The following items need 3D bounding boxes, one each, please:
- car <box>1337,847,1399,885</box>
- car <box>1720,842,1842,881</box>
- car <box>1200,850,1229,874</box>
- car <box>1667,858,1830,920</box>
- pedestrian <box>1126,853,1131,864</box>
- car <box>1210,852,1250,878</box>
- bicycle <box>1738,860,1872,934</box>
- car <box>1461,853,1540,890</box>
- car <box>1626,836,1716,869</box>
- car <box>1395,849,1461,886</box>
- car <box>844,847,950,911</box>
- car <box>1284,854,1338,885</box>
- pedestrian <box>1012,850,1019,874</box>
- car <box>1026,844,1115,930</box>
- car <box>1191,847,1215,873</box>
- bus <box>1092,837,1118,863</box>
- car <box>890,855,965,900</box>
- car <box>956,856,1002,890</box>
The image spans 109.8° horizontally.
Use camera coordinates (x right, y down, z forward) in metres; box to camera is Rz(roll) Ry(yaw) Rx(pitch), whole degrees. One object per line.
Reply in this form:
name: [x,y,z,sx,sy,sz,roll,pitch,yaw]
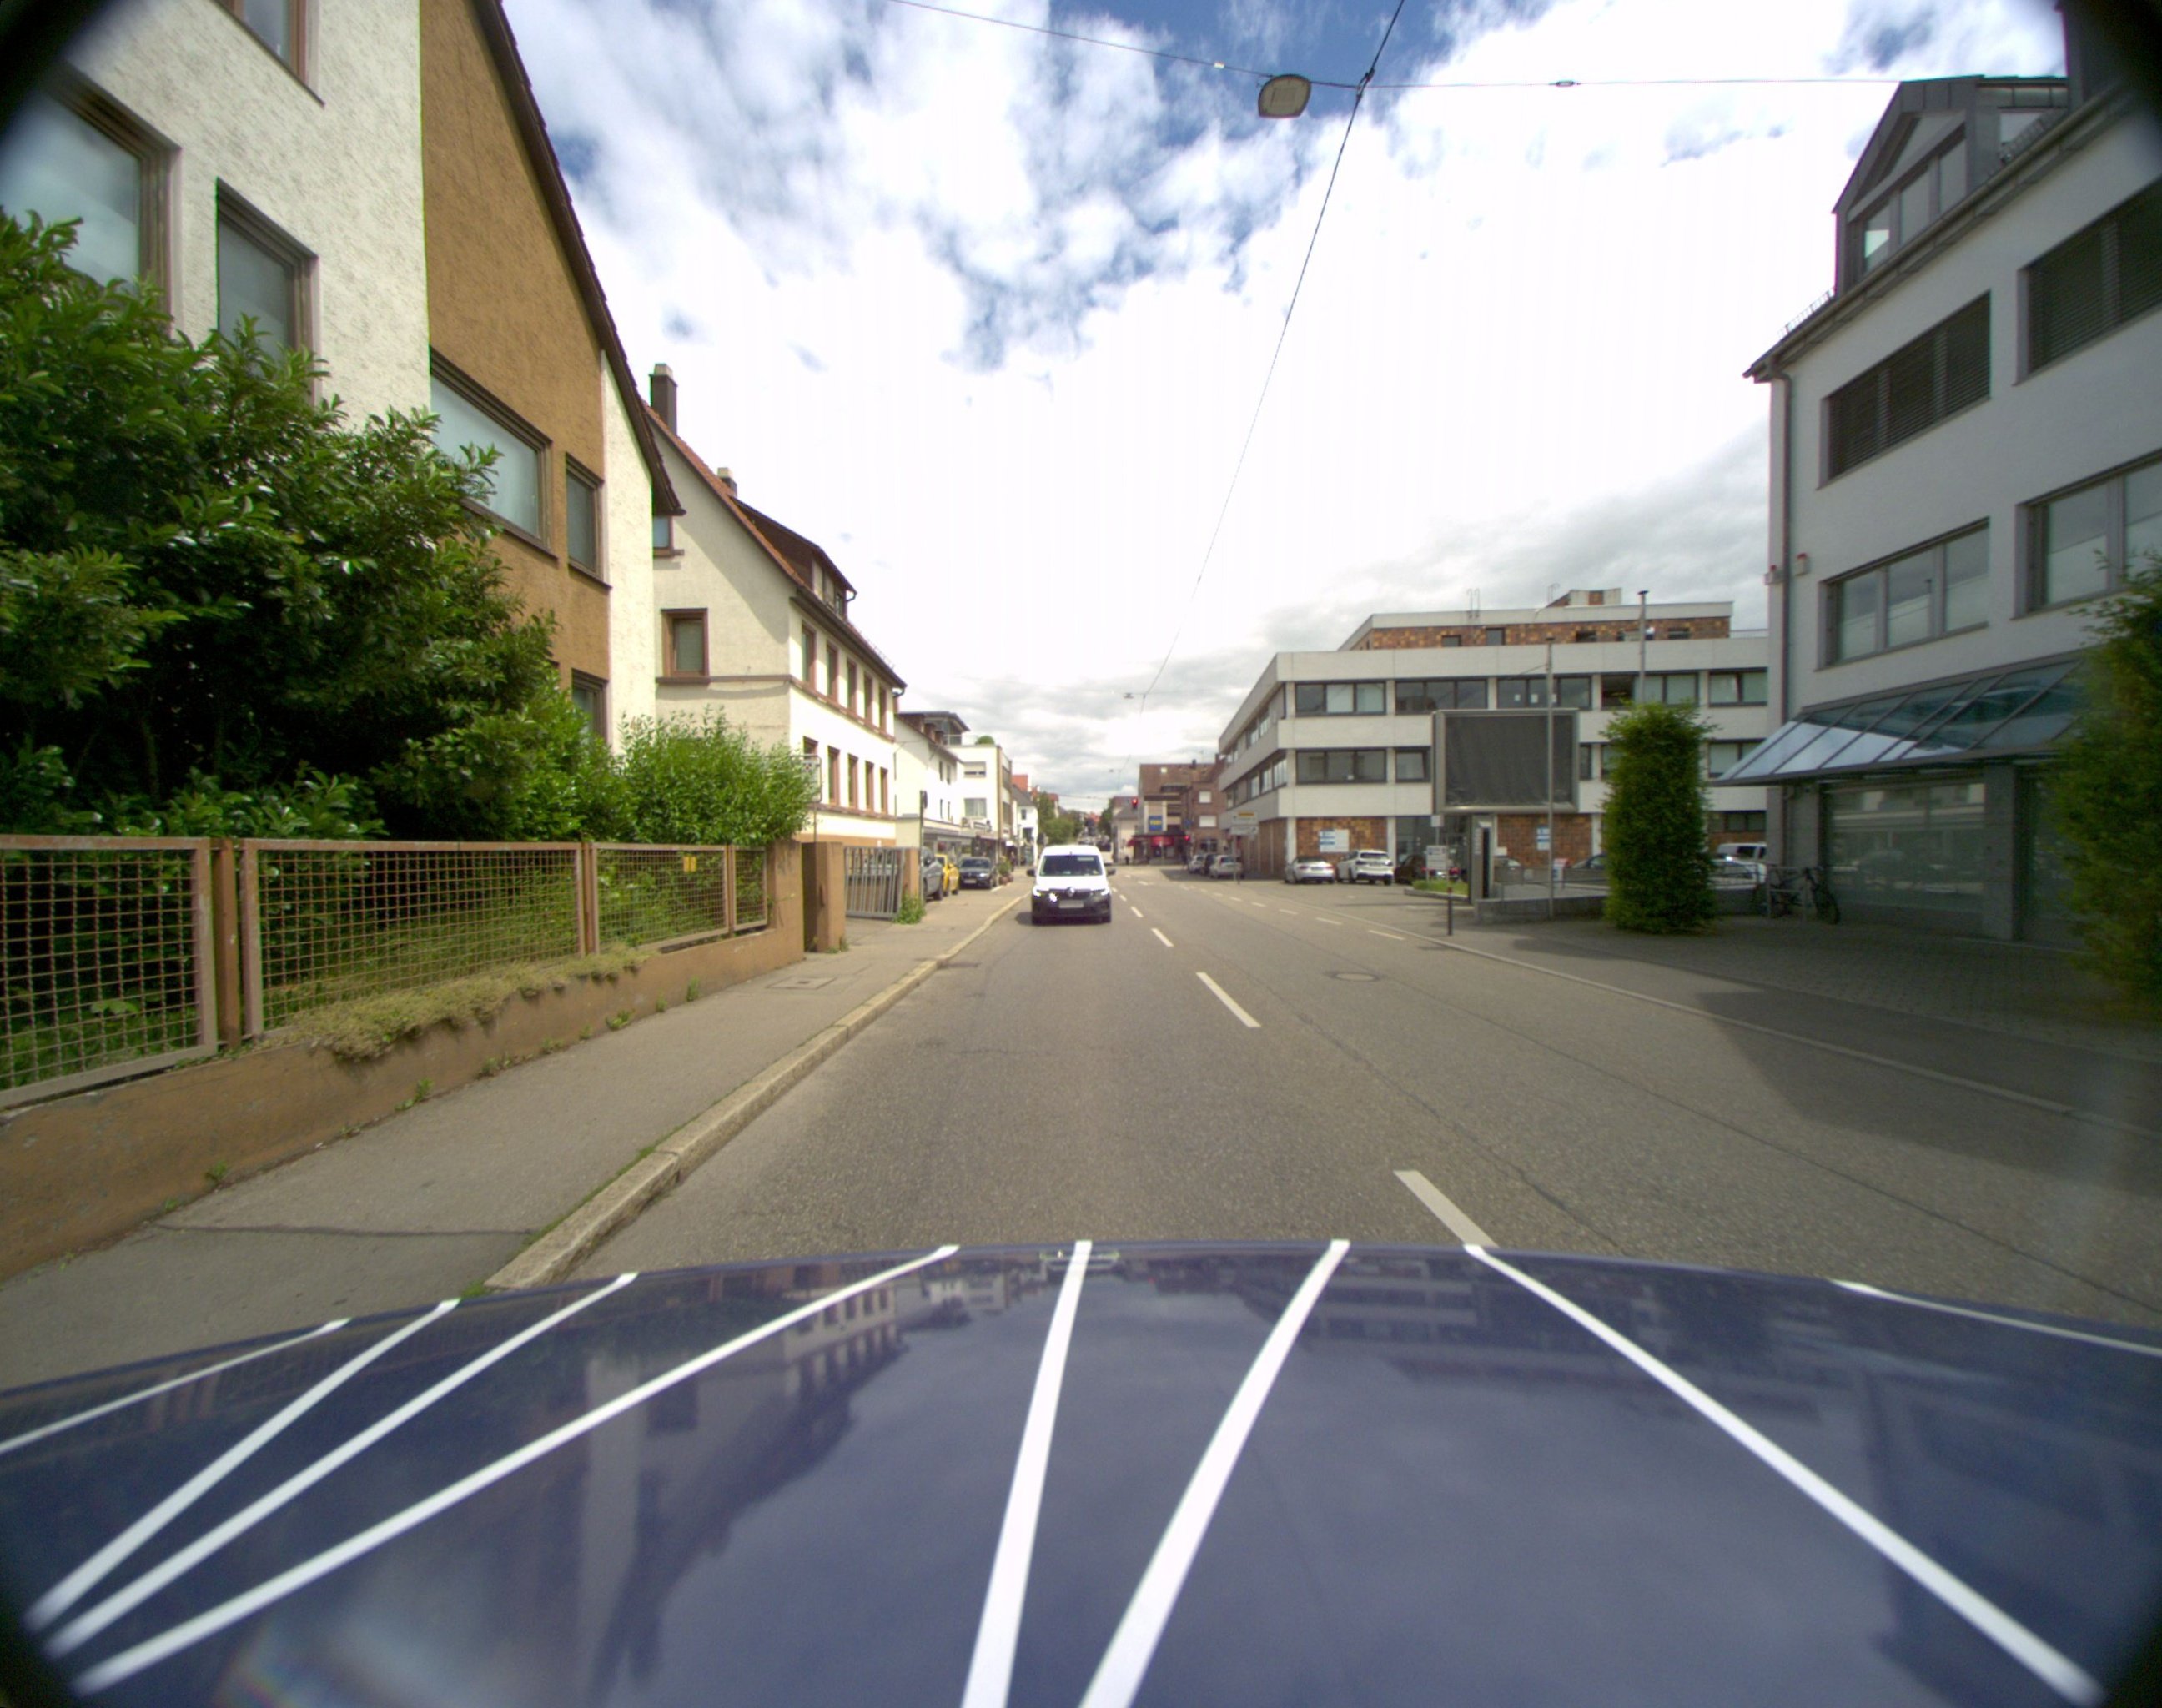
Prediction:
car: [13.772,0.529,36.664,1.896,1.687,3.802,1,1,7]
car: [32.919,0.310,35.924,1.975,1.656,4.428,-1,1,6]
car: [9.300,0.511,53.203,1.808,1.521,4.002,-1,1,8]
car: [20.827,1.019,23.943,1.822,1.656,3.950,-2,1,3]
pedestrian: [6.646,0.615,105.883,0.669,1.424,0.778,0,1,5]
car: [9.037,0.636,46.352,1.839,1.418,4.219,-1,1,4]
bicycle: [12.440,0.705,13.134,0.644,1.135,1.686,-2,1,-4]
car: [19.978,0.801,36.383,1.796,1.557,3.666,-2,1,1]
car: [28.034,-0.091,36.268,1.667,1.432,3.857,-1,1,7]
car: [16.695,0.612,36.717,1.648,1.599,3.843,-1,1,4]
car: [-5.006,0.627,21.316,1.999,1.610,4.100,0,0,-1]
car: [11.203,0.711,37.251,1.824,1.321,4.237,-1,1,7]
pedestrian: [-5.501,0.708,64.105,0.476,2.010,0.918,0,1,1]
car: [-0.162,0.671,18.850,1.870,1.805,5.006,-2,1,2]
car: [9.307,0.424,58.144,1.701,1.766,4.463,-1,1,7]
bus: [3.190,-0.587,104.615,3.133,3.239,9.748,-2,1,-1]
car: [-5.189,0.736,26.129,1.926,1.404,3.999,0,0,-3]
car: [-4.580,0.835,34.512,1.656,1.413,3.999,0,0,-2]
